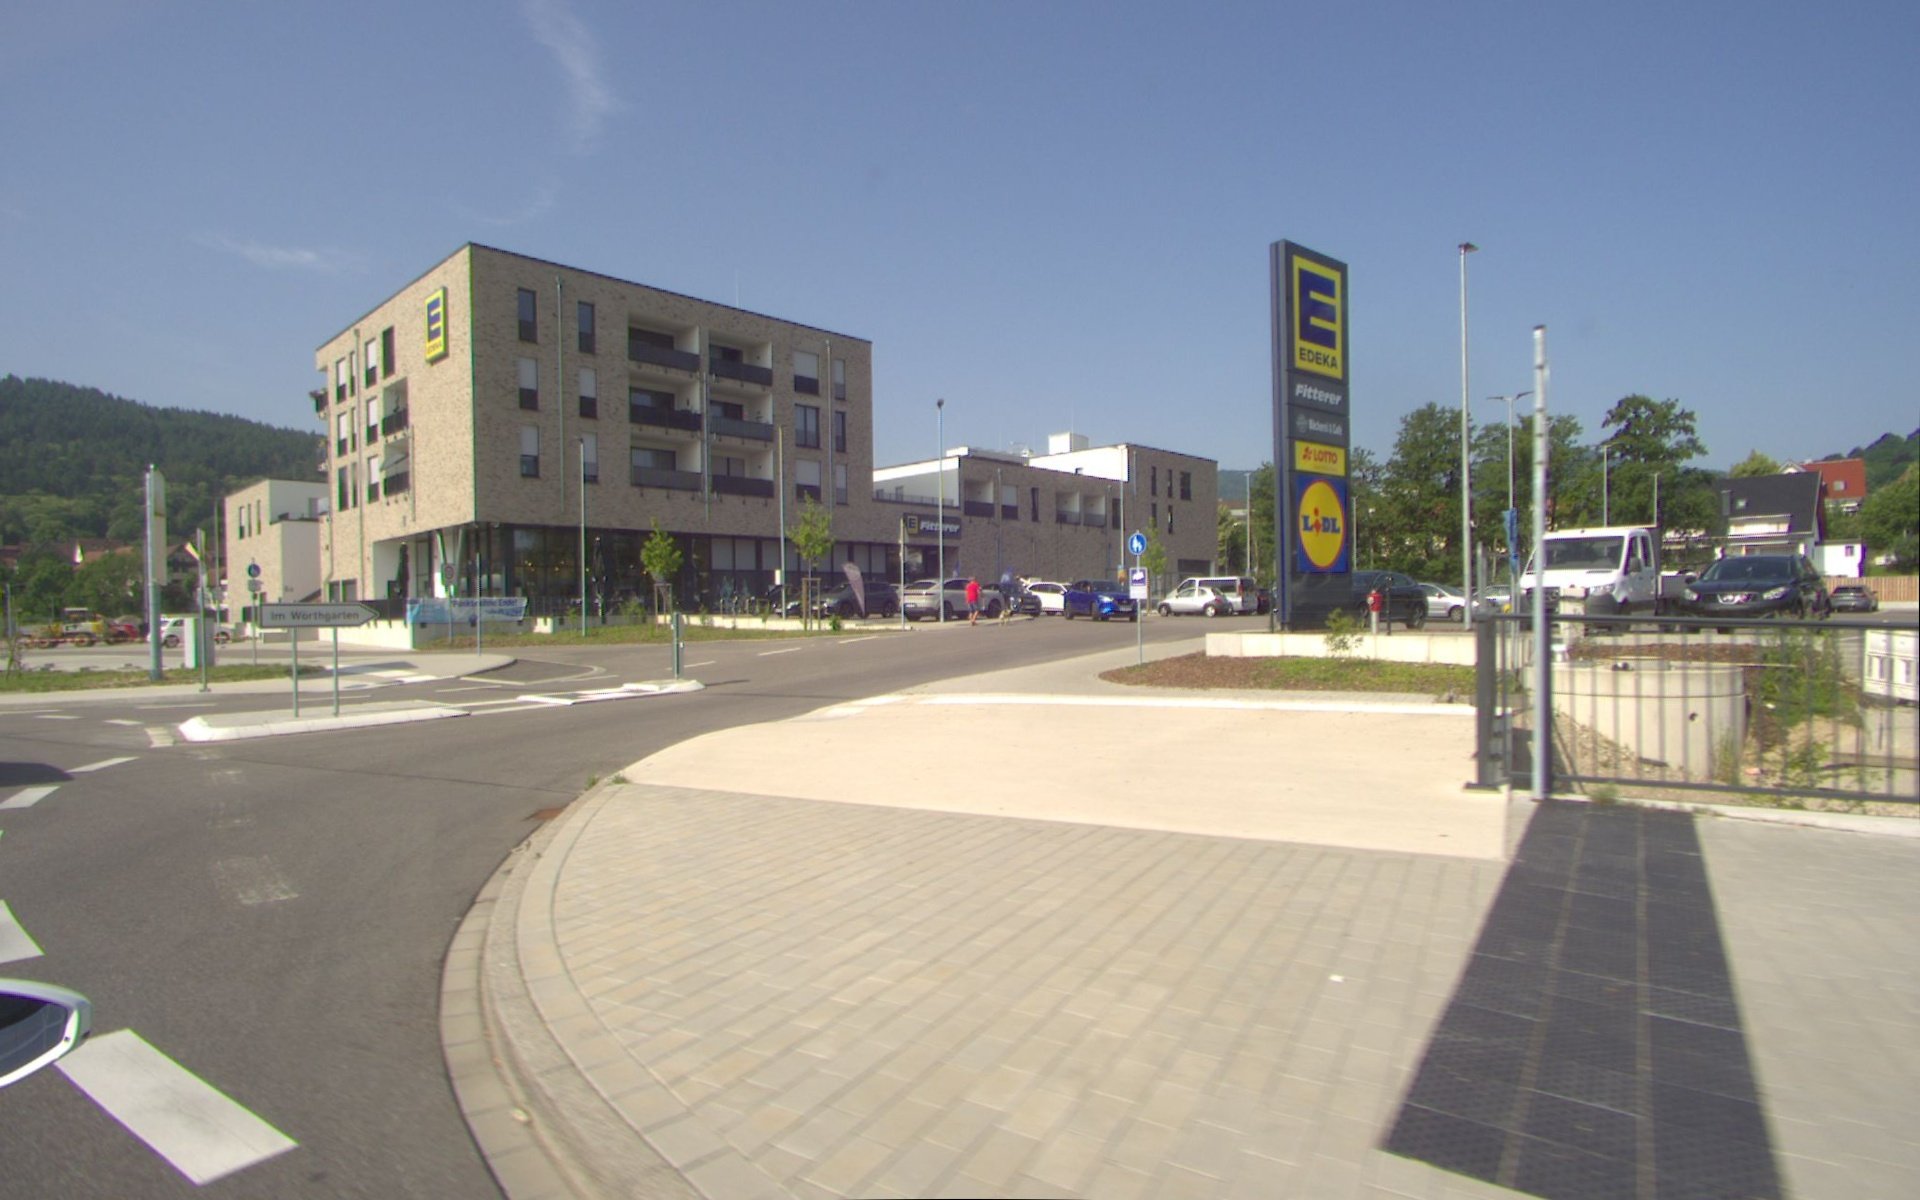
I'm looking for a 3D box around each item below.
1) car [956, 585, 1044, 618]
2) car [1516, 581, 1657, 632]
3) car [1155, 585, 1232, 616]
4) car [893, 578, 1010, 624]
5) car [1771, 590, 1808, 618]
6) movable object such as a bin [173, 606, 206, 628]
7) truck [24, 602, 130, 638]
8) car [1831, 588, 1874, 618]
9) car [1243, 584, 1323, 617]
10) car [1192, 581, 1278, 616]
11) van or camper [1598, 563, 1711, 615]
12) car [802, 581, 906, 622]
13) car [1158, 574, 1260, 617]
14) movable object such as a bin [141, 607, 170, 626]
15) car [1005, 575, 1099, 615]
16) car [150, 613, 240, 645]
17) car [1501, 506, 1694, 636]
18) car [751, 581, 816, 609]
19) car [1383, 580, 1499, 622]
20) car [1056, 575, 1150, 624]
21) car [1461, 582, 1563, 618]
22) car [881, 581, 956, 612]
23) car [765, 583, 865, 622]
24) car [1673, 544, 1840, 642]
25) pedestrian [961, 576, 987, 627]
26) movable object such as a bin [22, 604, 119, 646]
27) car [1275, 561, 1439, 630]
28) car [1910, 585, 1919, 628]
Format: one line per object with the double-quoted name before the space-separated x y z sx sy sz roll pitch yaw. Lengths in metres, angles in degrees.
"car" 1.805 0.072 46.348 1.625 1.411 4.192 -3 2 -41
"car" 21.169 0.243 33.898 1.747 1.594 3.750 3 -3 -44
"car" 11.261 0.059 48.360 3.290 1.368 1.617 -2 -3 37
"car" -0.288 -0.014 39.890 1.838 1.577 4.774 3 4 44
"car" 52.420 0.292 63.321 1.691 1.594 3.761 0 -2 39
"movable object such as a bin" -53.535 1.199 69.578 1.304 1.482 1.574 0 -2 39
"truck" -61.836 1.378 70.275 5.262 2.296 2.204 -2 1 -35
"car" 53.671 0.203 60.250 1.742 1.594 3.761 0 -2 39
"car" 18.250 0.061 56.614 3.946 1.763 1.924 0 -2 35
"car" 14.357 -0.053 52.329 3.946 1.660 1.863 0 -2 35
"van or camper" 41.487 -0.588 59.870 2.274 2.883 5.234 3 -2 -44
"car" -4.572 0.033 43.594 1.837 1.577 4.420 2 4 42
"car" 12.578 -0.206 50.684 4.585 2.039 1.989 0 -2 35
"movable object such as a bin" -56.360 1.158 70.141 1.304 1.284 1.291 0 -2 40
"car" 4.641 -0.206 50.803 4.531 1.905 1.982 -1 -1 44
"car" -40.231 1.500 52.742 1.570 1.514 3.400 -3 0 29
"car" 14.204 -0.476 22.118 6.030 2.413 2.042 3 -2 -42
"car" -9.150 -0.224 51.893 3.291 1.368 1.481 0 -2 39
"car" 17.884 0.062 37.343 1.511 1.463 3.597 3 -3 -43
"car" 5.441 -0.065 38.738 1.853 1.686 4.342 -4 2 -17
"car" 23.855 0.021 43.379 1.511 1.463 3.597 3 -3 -43
"car" -2.372 -0.241 58.702 1.837 1.577 4.420 2 4 42
"car" -6.619 0.060 46.209 1.837 1.577 4.420 2 4 42
"car" 15.579 -0.049 19.508 4.431 1.622 1.817 3 -3 -41
"pedestrian" 0.499 0.064 35.599 0.863 1.763 0.758 1 -1 0
"movable object such as a bin" -59.779 1.641 67.407 4.567 2.604 1.912 -2 1 -35
"car" 10.419 -0.039 26.131 4.808 1.549 1.907 3 -2 -40
"car" 38.014 0.233 37.323 1.747 1.594 3.750 3 -3 -44
